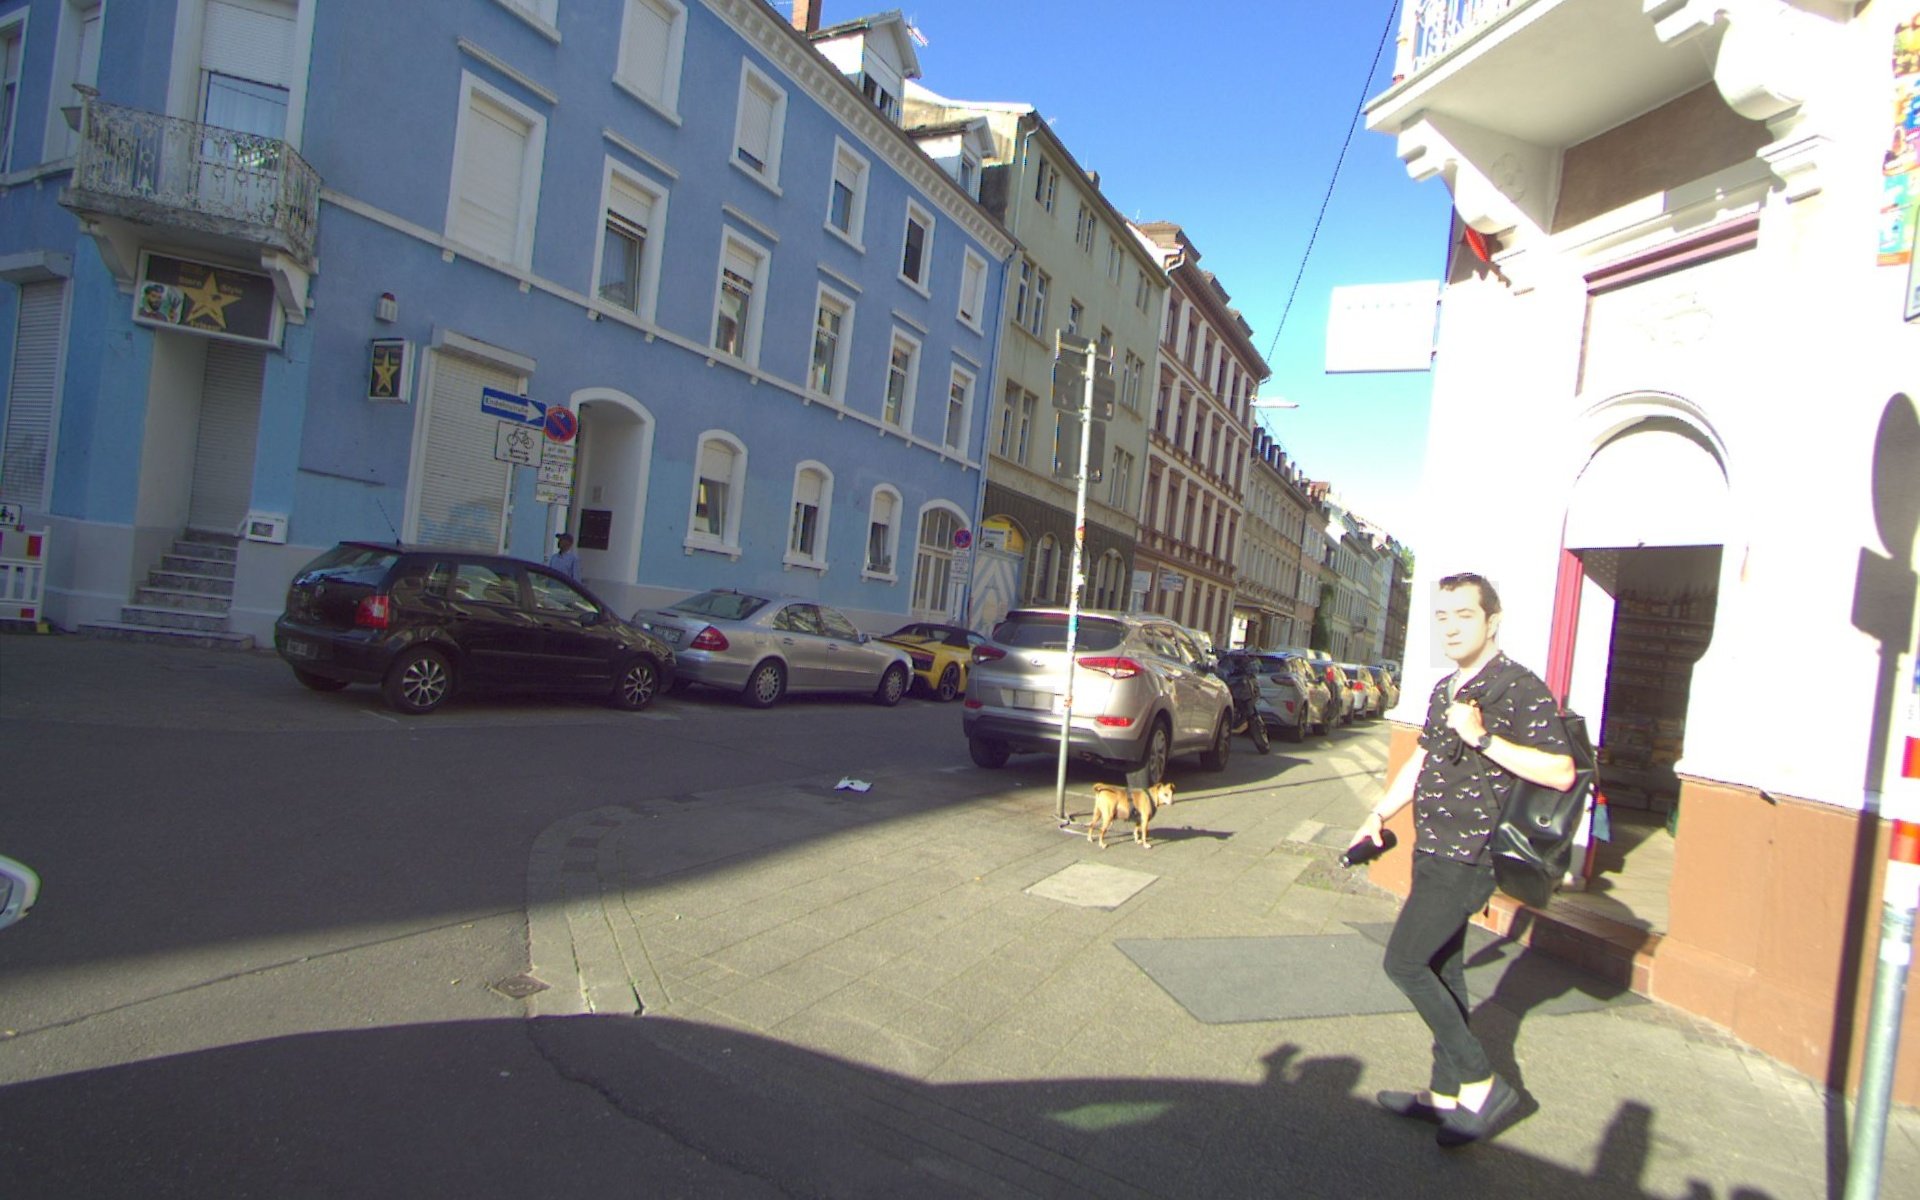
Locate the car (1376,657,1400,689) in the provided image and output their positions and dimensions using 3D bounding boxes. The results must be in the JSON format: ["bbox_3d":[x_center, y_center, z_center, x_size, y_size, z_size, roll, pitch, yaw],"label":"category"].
[{"bbox_3d":[43.042,7.386,101.174,1.722,2.949,4.189,3,-3,28],"label":"car"}]

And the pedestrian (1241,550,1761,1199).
[{"bbox_3d":[1.623,0.802,3.140,0.975,1.816,0.824,5,2,-20],"label":"pedestrian"}]

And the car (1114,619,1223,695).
[{"bbox_3d":[6.611,1.846,31.524,1.805,1.969,4.547,7,-1,30],"label":"car"}]

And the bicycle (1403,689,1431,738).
[{"bbox_3d":[10.403,2.568,22.872,0.447,1.021,1.645,6,-2,26],"label":"bicycle"}]

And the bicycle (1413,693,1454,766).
[{"bbox_3d":[7.305,1.967,15.512,0.447,1.021,1.644,6,-2,26],"label":"bicycle"}]

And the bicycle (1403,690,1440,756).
[{"bbox_3d":[7.902,2.086,17.209,0.447,1.021,1.645,6,-2,26],"label":"bicycle"}]

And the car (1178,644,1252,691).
[{"bbox_3d":[9.652,2.581,37.852,1.722,1.530,3.913,3,-3,28],"label":"car"}]

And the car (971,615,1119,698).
[{"bbox_3d":[2.062,1.363,23.259,1.727,1.494,3.977,9,-1,30],"label":"car"}]

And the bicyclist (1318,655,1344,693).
[{"bbox_3d":[15.529,3.096,42.145,0.751,1.488,1.004,6,-2,28],"label":"bicyclist"}]

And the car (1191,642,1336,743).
[{"bbox_3d":[5.635,1.675,18.360,1.722,1.530,3.913,3,-3,28],"label":"car"}]

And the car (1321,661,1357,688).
[{"bbox_3d":[25.413,5.010,67.366,1.722,1.530,3.913,3,-3,28],"label":"car"}]

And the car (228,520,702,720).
[{"bbox_3d":[-4.616,0.294,10.009,1.648,1.470,3.877,7,-2,28],"label":"car"}]

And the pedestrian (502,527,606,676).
[{"bbox_3d":[-5.447,0.033,13.516,0.767,1.871,0.771,6,-1,28],"label":"pedestrian"}]

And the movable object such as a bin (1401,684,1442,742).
[{"bbox_3d":[9.966,2.430,21.717,0.656,1.146,0.672,6,-2,29],"label":"movable object such as a bin"}]

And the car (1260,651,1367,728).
[{"bbox_3d":[8.387,2.105,23.659,1.722,1.530,3.913,3,-3,28],"label":"car"}]

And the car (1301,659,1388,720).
[{"bbox_3d":[10.856,2.520,28.261,1.722,1.469,3.913,3,-3,28],"label":"car"}]

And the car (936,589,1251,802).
[{"bbox_3d":[1.603,0.961,10.502,1.825,1.651,4.069,4,-3,29],"label":"car"}]

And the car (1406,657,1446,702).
[{"bbox_3d":[27.718,4.759,59.783,1.814,2.459,3.913,3,-3,28],"label":"car"}]

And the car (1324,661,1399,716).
[{"bbox_3d":[12.782,2.816,31.912,1.722,1.530,3.913,3,-3,28],"label":"car"}]

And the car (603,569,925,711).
[{"bbox_3d":[-2.479,0.650,13.939,1.727,1.451,4.479,9,-1,30],"label":"car"}]

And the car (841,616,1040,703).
[{"bbox_3d":[-0.223,1.150,18.490,1.726,1.242,4.161,6,-2,29],"label":"car"}]

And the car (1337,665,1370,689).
[{"bbox_3d":[28.741,5.607,73.434,1.722,1.530,3.913,3,-3,28],"label":"car"}]

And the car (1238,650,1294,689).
[{"bbox_3d":[14.358,3.271,47.079,1.722,1.570,3.913,3,-3,28],"label":"car"}]

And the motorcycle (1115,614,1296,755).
[{"bbox_3d":[3.418,1.180,13.931,2.309,1.668,0.846,8,-2,-28],"label":"motorcycle"}]

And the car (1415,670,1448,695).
[{"bbox_3d":[32.443,5.683,69.176,1.722,1.530,3.913,3,-3,28],"label":"car"}]

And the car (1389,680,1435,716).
[{"bbox_3d":[22.230,4.809,49.366,1.722,1.530,3.913,3,-3,28],"label":"car"}]

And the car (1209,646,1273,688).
[{"bbox_3d":[11.809,2.839,42.114,1.722,1.530,3.913,3,-3,28],"label":"car"}]

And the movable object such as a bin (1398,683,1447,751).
[{"bbox_3d":[8.525,2.149,18.546,0.656,1.129,0.717,6,-2,29],"label":"movable object such as a bin"}]

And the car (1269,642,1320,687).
[{"bbox_3d":[17.297,3.374,51.916,1.722,2.076,3.913,3,-3,28],"label":"car"}]
